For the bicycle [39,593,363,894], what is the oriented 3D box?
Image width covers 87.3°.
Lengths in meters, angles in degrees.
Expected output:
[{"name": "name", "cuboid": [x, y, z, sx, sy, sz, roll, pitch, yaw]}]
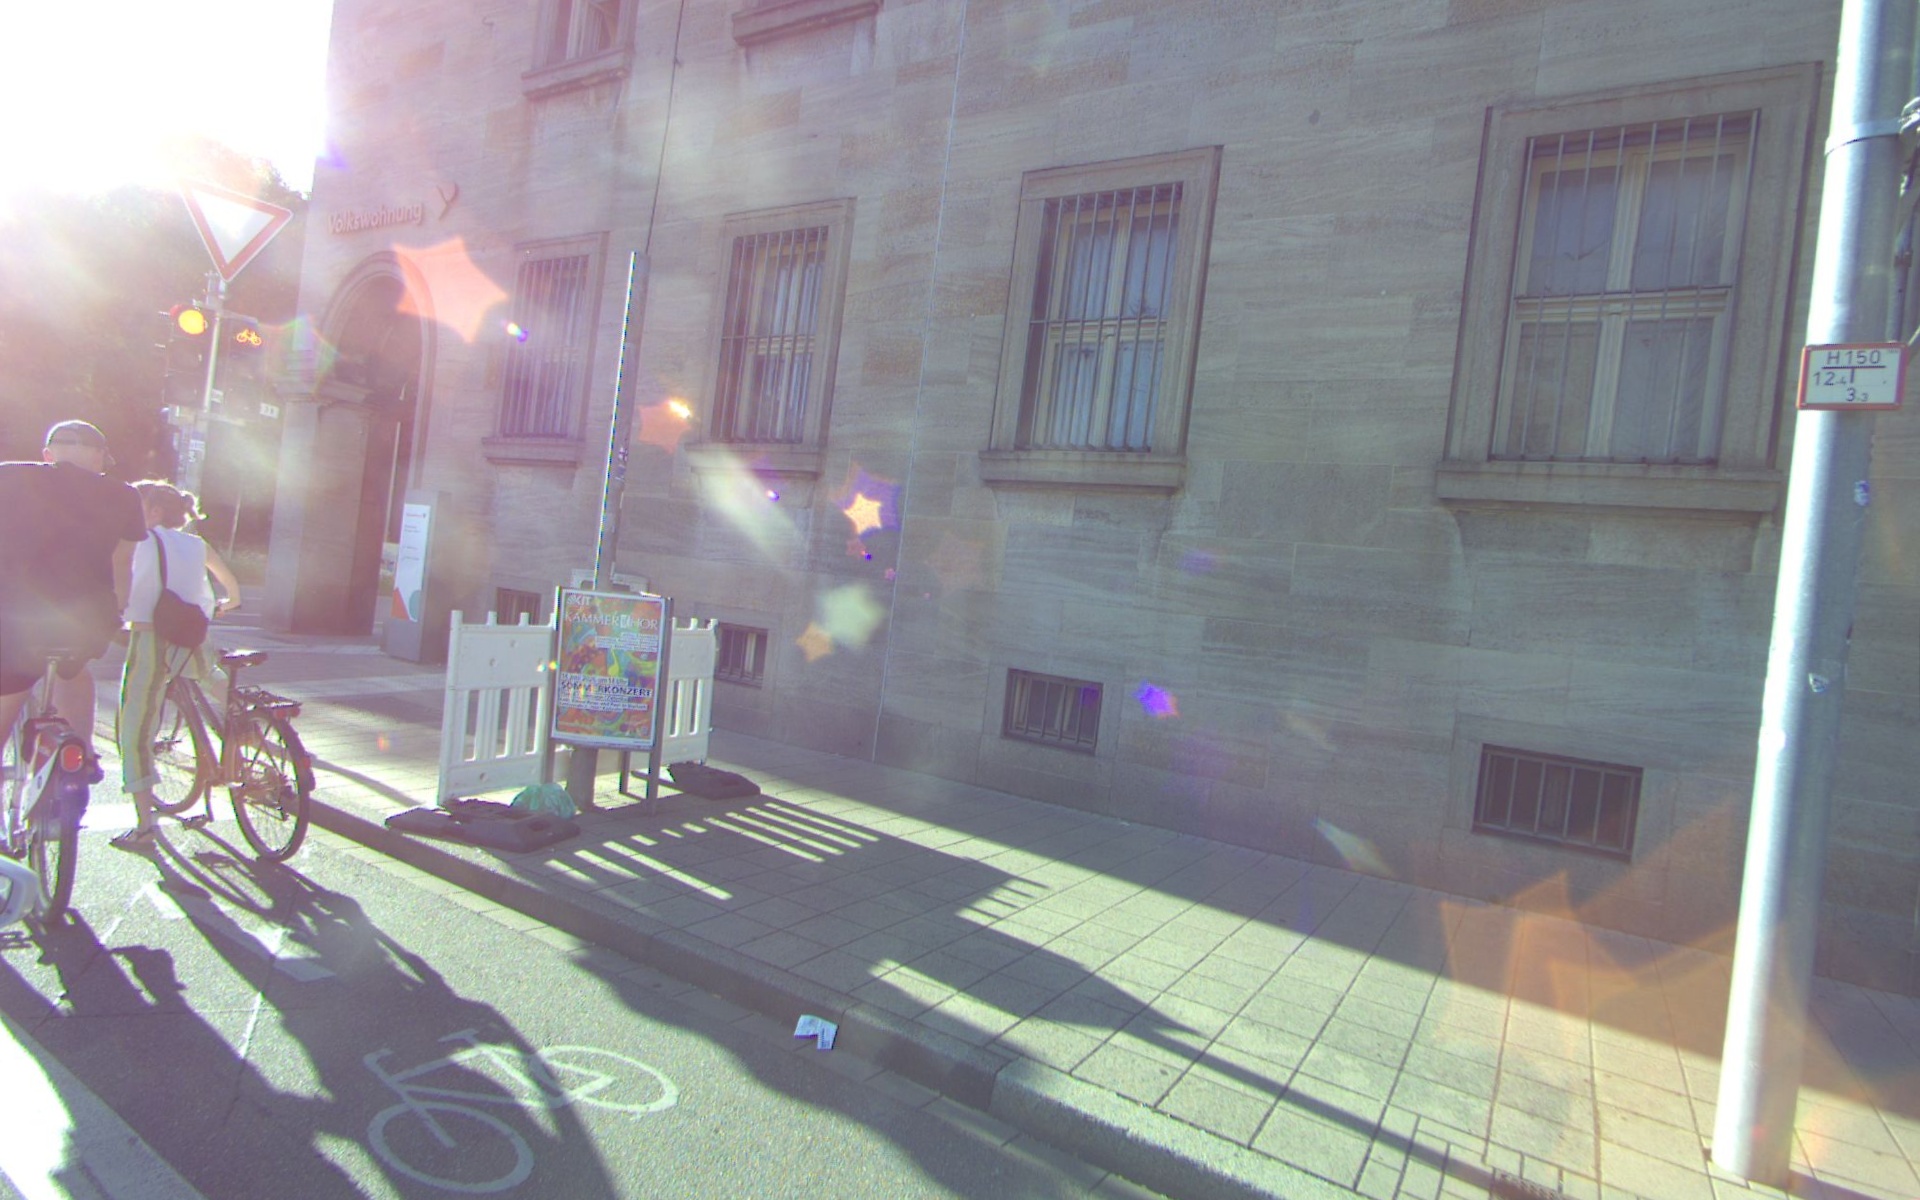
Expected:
[{"name": "bicycle", "cuboid": [-3.692, 0.619, 4.848, 1.721, 1.090, 0.535, 7, -1, 31]}]

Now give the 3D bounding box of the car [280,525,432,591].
[{"name": "car", "cuboid": [-19.731, -1.334, 32.989, 1.623, 1.630, 3.854, 7, -1, 31]}]

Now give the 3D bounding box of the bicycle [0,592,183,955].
[{"name": "bicycle", "cuboid": [-3.748, 0.572, 3.931, 1.700, 1.090, 0.516, 7, -1, 34]}]

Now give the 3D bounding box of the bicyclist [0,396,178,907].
[{"name": "bicyclist", "cuboid": [-3.559, 0.191, 3.860, 0.541, 1.820, 0.559, 7, -1, 33]}]

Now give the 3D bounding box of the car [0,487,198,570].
[{"name": "car", "cuboid": [-23.384, -1.896, 27.201, 1.622, 1.630, 3.999, 7, -1, 31]}]

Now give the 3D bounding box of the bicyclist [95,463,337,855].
[{"name": "bicyclist", "cuboid": [-3.546, 0.263, 4.810, 0.629, 1.711, 0.558, 7, -1, 30]}]

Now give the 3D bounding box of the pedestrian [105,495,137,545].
[{"name": "pedestrian", "cuboid": [-30.146, -2.867, 36.137, 0.506, 1.683, 0.583, 8, 0, 34]}]

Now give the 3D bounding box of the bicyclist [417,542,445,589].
[{"name": "bicyclist", "cuboid": [-20.232, -1.332, 38.458, 0.499, 1.704, 0.643, 7, 0, 37]}]
